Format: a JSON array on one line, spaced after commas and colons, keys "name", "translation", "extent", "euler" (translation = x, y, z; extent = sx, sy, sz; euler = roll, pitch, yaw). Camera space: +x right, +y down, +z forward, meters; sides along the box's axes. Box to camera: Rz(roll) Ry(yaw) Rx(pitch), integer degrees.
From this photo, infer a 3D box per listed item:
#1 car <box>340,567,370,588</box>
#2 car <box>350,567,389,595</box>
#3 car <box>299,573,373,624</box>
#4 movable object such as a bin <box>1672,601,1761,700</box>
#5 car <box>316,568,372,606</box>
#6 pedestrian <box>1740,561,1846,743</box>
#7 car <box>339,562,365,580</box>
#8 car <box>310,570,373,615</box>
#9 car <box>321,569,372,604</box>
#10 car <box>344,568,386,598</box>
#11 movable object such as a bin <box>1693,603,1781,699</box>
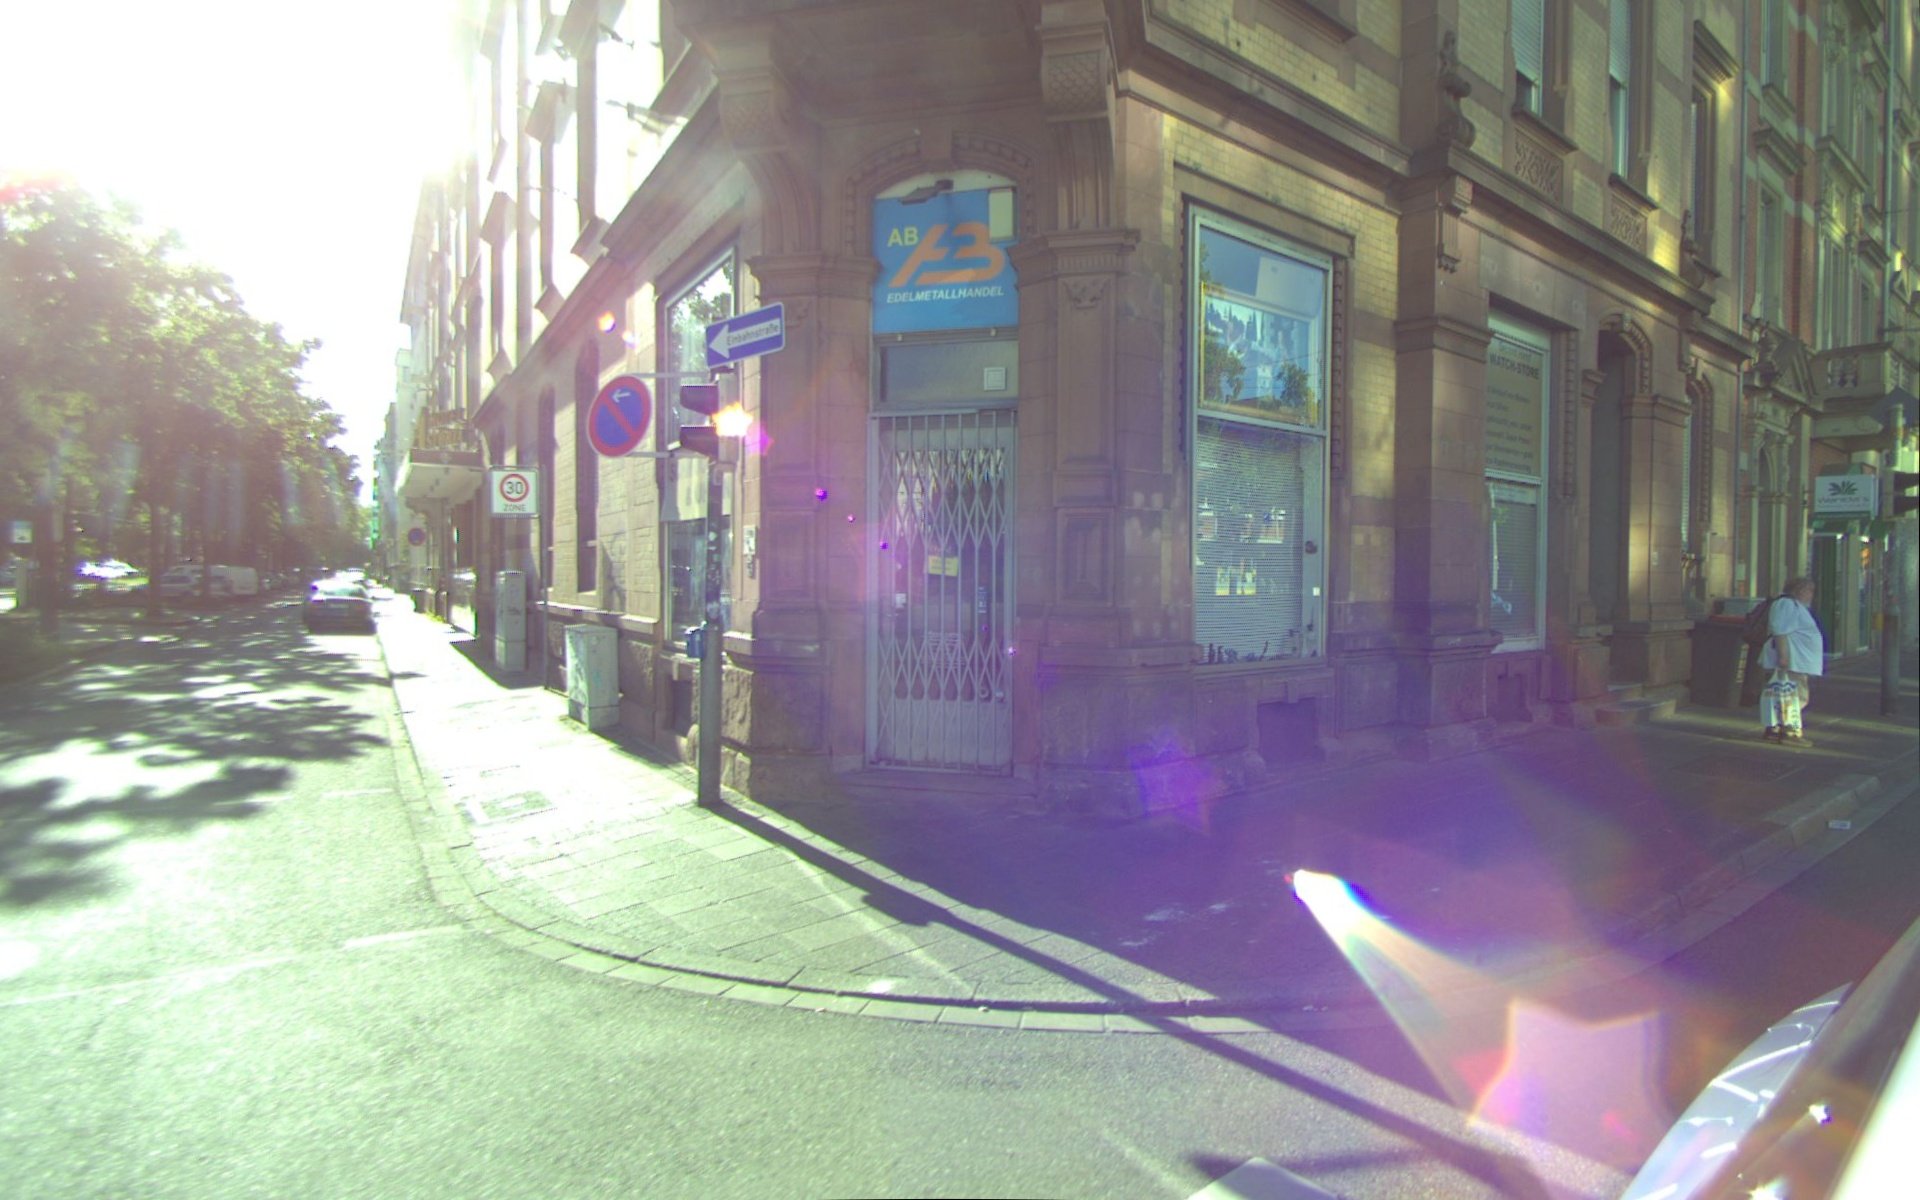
[{"name": "car", "translation": [-44.572, -1.706, 74.623], "extent": [1.710, 1.437, 3.774], "euler": [-2, 3, -28]}, {"name": "car", "translation": [-32.878, -1.110, 56.406], "extent": [1.710, 1.437, 3.774], "euler": [-2, 3, -28]}, {"name": "car", "translation": [-19.721, -0.103, 32.126], "extent": [1.710, 1.437, 4.007], "euler": [-2, 3, -28]}, {"name": "movable object such as a bin", "translation": [9.078, 0.587, 12.154], "extent": [0.535, 1.085, 0.665], "euler": [-1, 5, -36]}, {"name": "car", "translation": [-25.323, -0.577, 41.691], "extent": [1.710, 1.437, 3.774], "euler": [-2, 3, -28]}, {"name": "pedestrian", "translation": [7.832, 0.445, 9.546], "extent": [0.679, 1.627, 0.722], "euler": [1, 2, 35]}, {"name": "car", "translation": [-53.062, -2.552, 88.378], "extent": [1.710, 1.437, 3.774], "euler": [-2, 3, -28]}, {"name": "car", "translation": [-22.523, -0.322, 36.968], "extent": [1.710, 1.437, 3.774], "euler": [-2, 3, -28]}, {"name": "car", "translation": [-27.739, -0.658, 45.845], "extent": [1.710, 1.437, 3.774], "euler": [-2, 3, -28]}, {"name": "car", "translation": [-30.904, -0.920, 52.632], "extent": [1.710, 1.437, 3.774], "euler": [-2, 3, -28]}, {"name": "movable object such as a bin", "translation": [9.562, 0.608, 12.461], "extent": [0.580, 1.085, 0.665], "euler": [-1, 5, -36]}]
